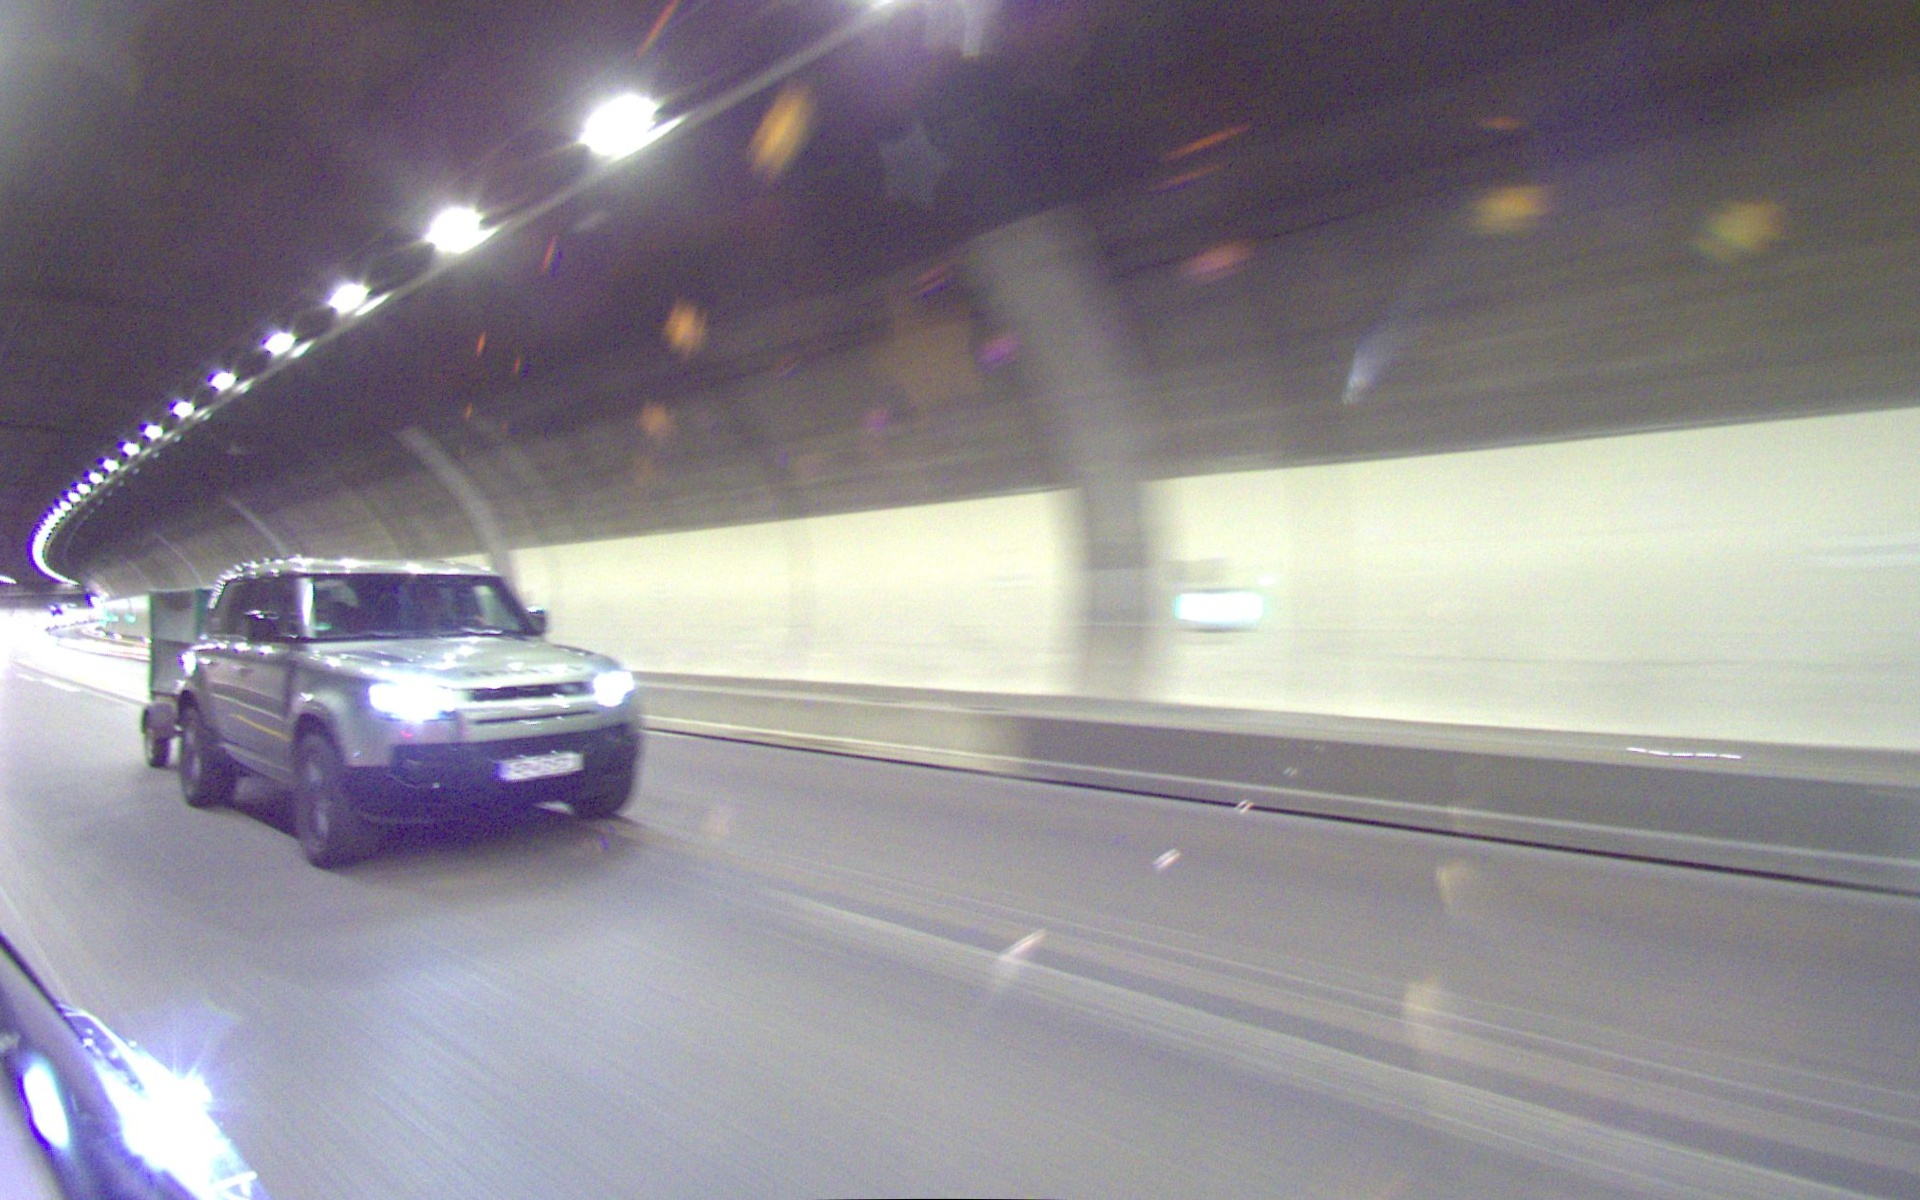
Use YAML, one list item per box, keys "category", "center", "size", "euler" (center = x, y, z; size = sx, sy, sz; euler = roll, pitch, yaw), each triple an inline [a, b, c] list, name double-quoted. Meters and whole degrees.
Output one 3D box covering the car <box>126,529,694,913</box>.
- category: "car"
  center: [-4.411, 0.664, 7.591]
  size: [5.450, 1.909, 1.973]
  euler: [-1, -2, 41]
